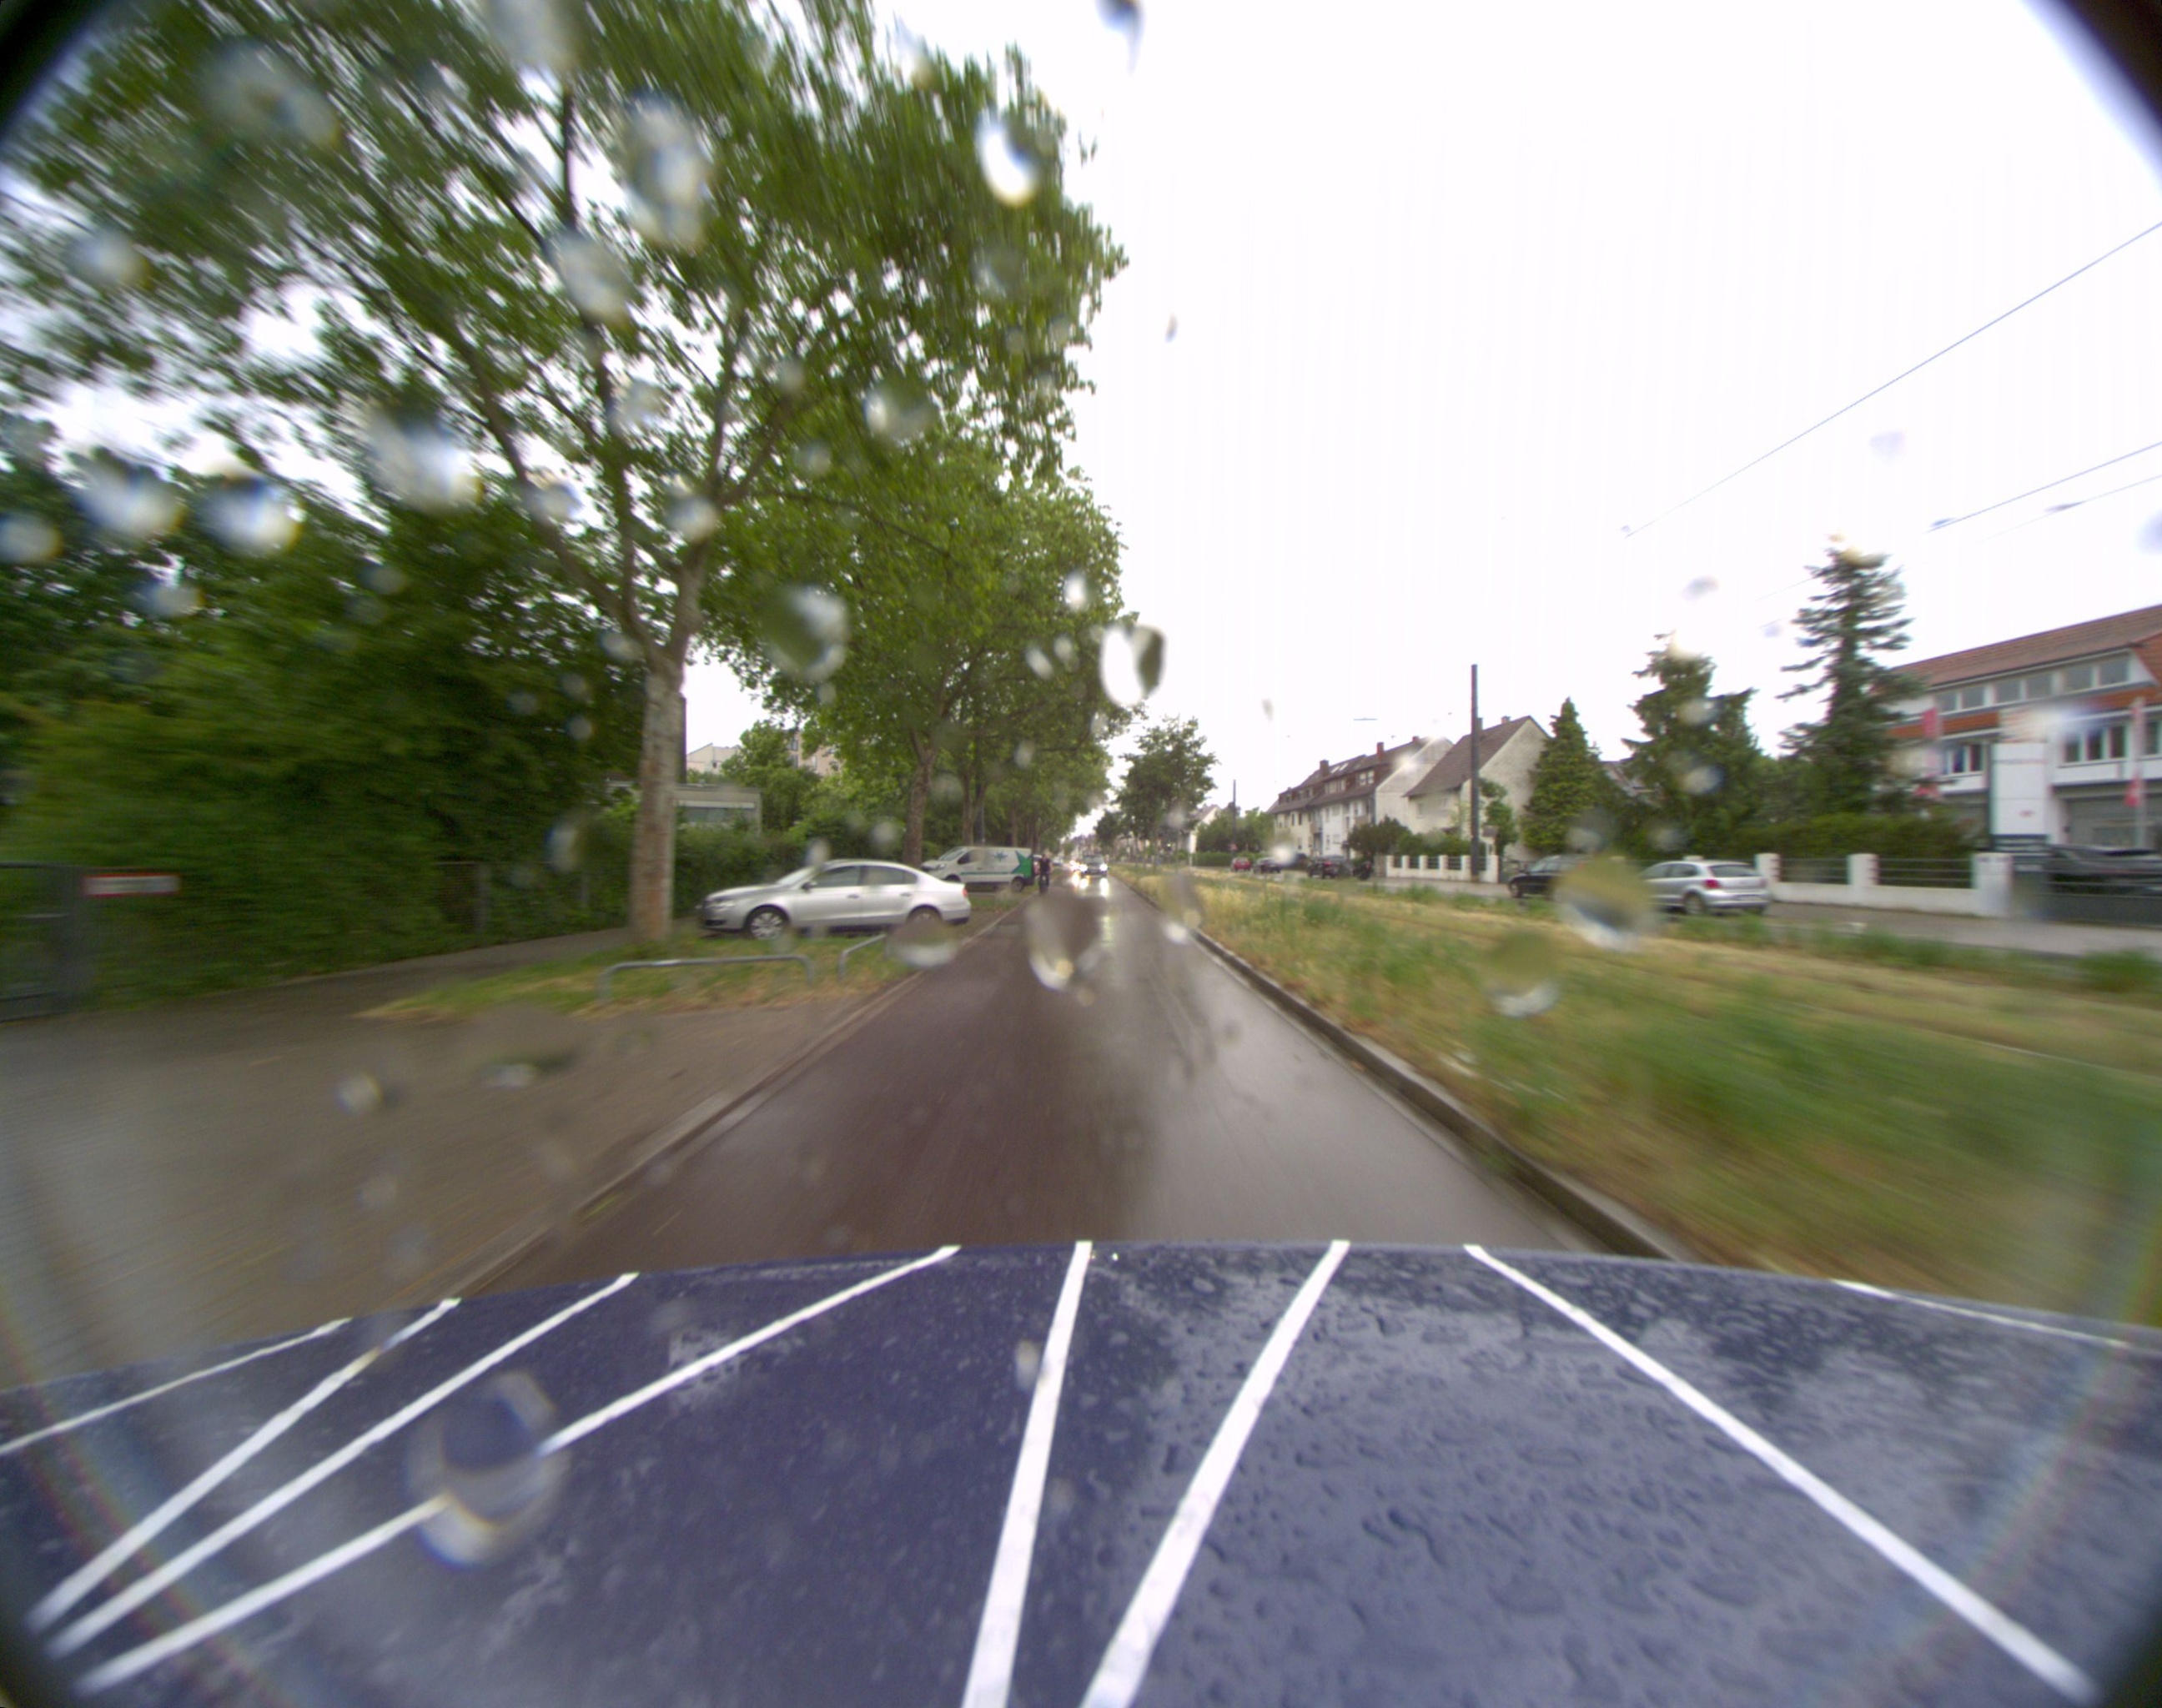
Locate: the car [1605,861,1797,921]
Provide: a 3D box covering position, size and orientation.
[{"bbox_3d":[16.801,0.931,20.898,1.998,1.402,3.971,-2,0,0],"label":"car"}]

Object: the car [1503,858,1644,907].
[{"bbox_3d":[16.731,0.901,26.138,1.998,1.447,4.532,-2,0,2],"label":"car"}]

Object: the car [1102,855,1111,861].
[{"bbox_3d":[8.153,1.185,242.583,2.000,2.002,3.997,0,0,-7],"label":"car"}]

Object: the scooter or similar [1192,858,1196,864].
[{"bbox_3d":[18.044,1.095,121.059,0.347,0.905,1.258,0,0,-5],"label":"scooter or similar"}]

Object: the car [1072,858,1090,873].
[{"bbox_3d":[-0.047,1.201,81.607,1.781,1.477,4.000,2,0,-1],"label":"car"}]

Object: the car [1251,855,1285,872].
[{"bbox_3d":[17.052,0.853,69.529,1.998,1.402,4.762,-2,0,2],"label":"car"}]

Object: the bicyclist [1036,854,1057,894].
[{"bbox_3d":[-1.274,0.716,27.861,0.675,1.421,0.753,-3,1,-2],"label":"bicyclist"}]

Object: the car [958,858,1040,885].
[{"bbox_3d":[-4.560,0.952,42.495,4.314,1.376,1.736,-1,0,-39],"label":"car"}]

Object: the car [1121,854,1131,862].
[{"bbox_3d":[11.932,0.991,200.254,2.000,2.002,3.998,0,0,-6],"label":"car"}]

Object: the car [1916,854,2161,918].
[{"bbox_3d":[24.177,0.732,19.239,1.703,1.402,3.971,-2,0,0],"label":"car"}]

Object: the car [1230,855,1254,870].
[{"bbox_3d":[17.083,0.894,80.735,1.802,1.448,4.001,-2,0,2],"label":"car"}]

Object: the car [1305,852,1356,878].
[{"bbox_3d":[17.224,0.739,52.631,1.999,1.665,4.386,-1,0,-1],"label":"car"}]

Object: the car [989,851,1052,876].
[{"bbox_3d":[-4.165,0.637,52.317,4.056,1.631,1.650,0,1,-38],"label":"car"}]

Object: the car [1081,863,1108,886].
[{"bbox_3d":[0.910,1.390,53.824,1.781,1.477,4.000,2,0,-1],"label":"car"}]

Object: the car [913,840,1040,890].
[{"bbox_3d":[-4.471,0.492,32.859,5.040,2.001,1.995,1,-1,-34],"label":"car"}]

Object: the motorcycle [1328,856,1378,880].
[{"bbox_3d":[17.015,0.873,47.574,2.680,1.403,1.269,-1,2,42],"label":"motorcycle"}]

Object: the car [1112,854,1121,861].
[{"bbox_3d":[10.252,1.049,221.601,2.000,2.002,3.997,0,0,-7],"label":"car"}]

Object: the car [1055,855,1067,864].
[{"bbox_3d":[-3.377,0.862,128.596,1.781,1.477,4.000,2,0,-1],"label":"car"}]

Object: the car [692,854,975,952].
[{"bbox_3d":[-4.455,0.861,13.895,4.569,1.535,1.883,3,-1,-31],"label":"car"}]

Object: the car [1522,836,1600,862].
[{"bbox_3d":[31.308,-0.313,49.598,3.968,1.531,1.704,-2,0,0],"label":"car"}]

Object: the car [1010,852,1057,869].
[{"bbox_3d":[-4.322,0.597,69.599,3.812,1.523,1.878,1,0,-32],"label":"car"}]

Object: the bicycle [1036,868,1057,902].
[{"bbox_3d":[-1.251,1.110,27.900,0.675,1.136,2.444,-3,0,-2],"label":"bicycle"}]
